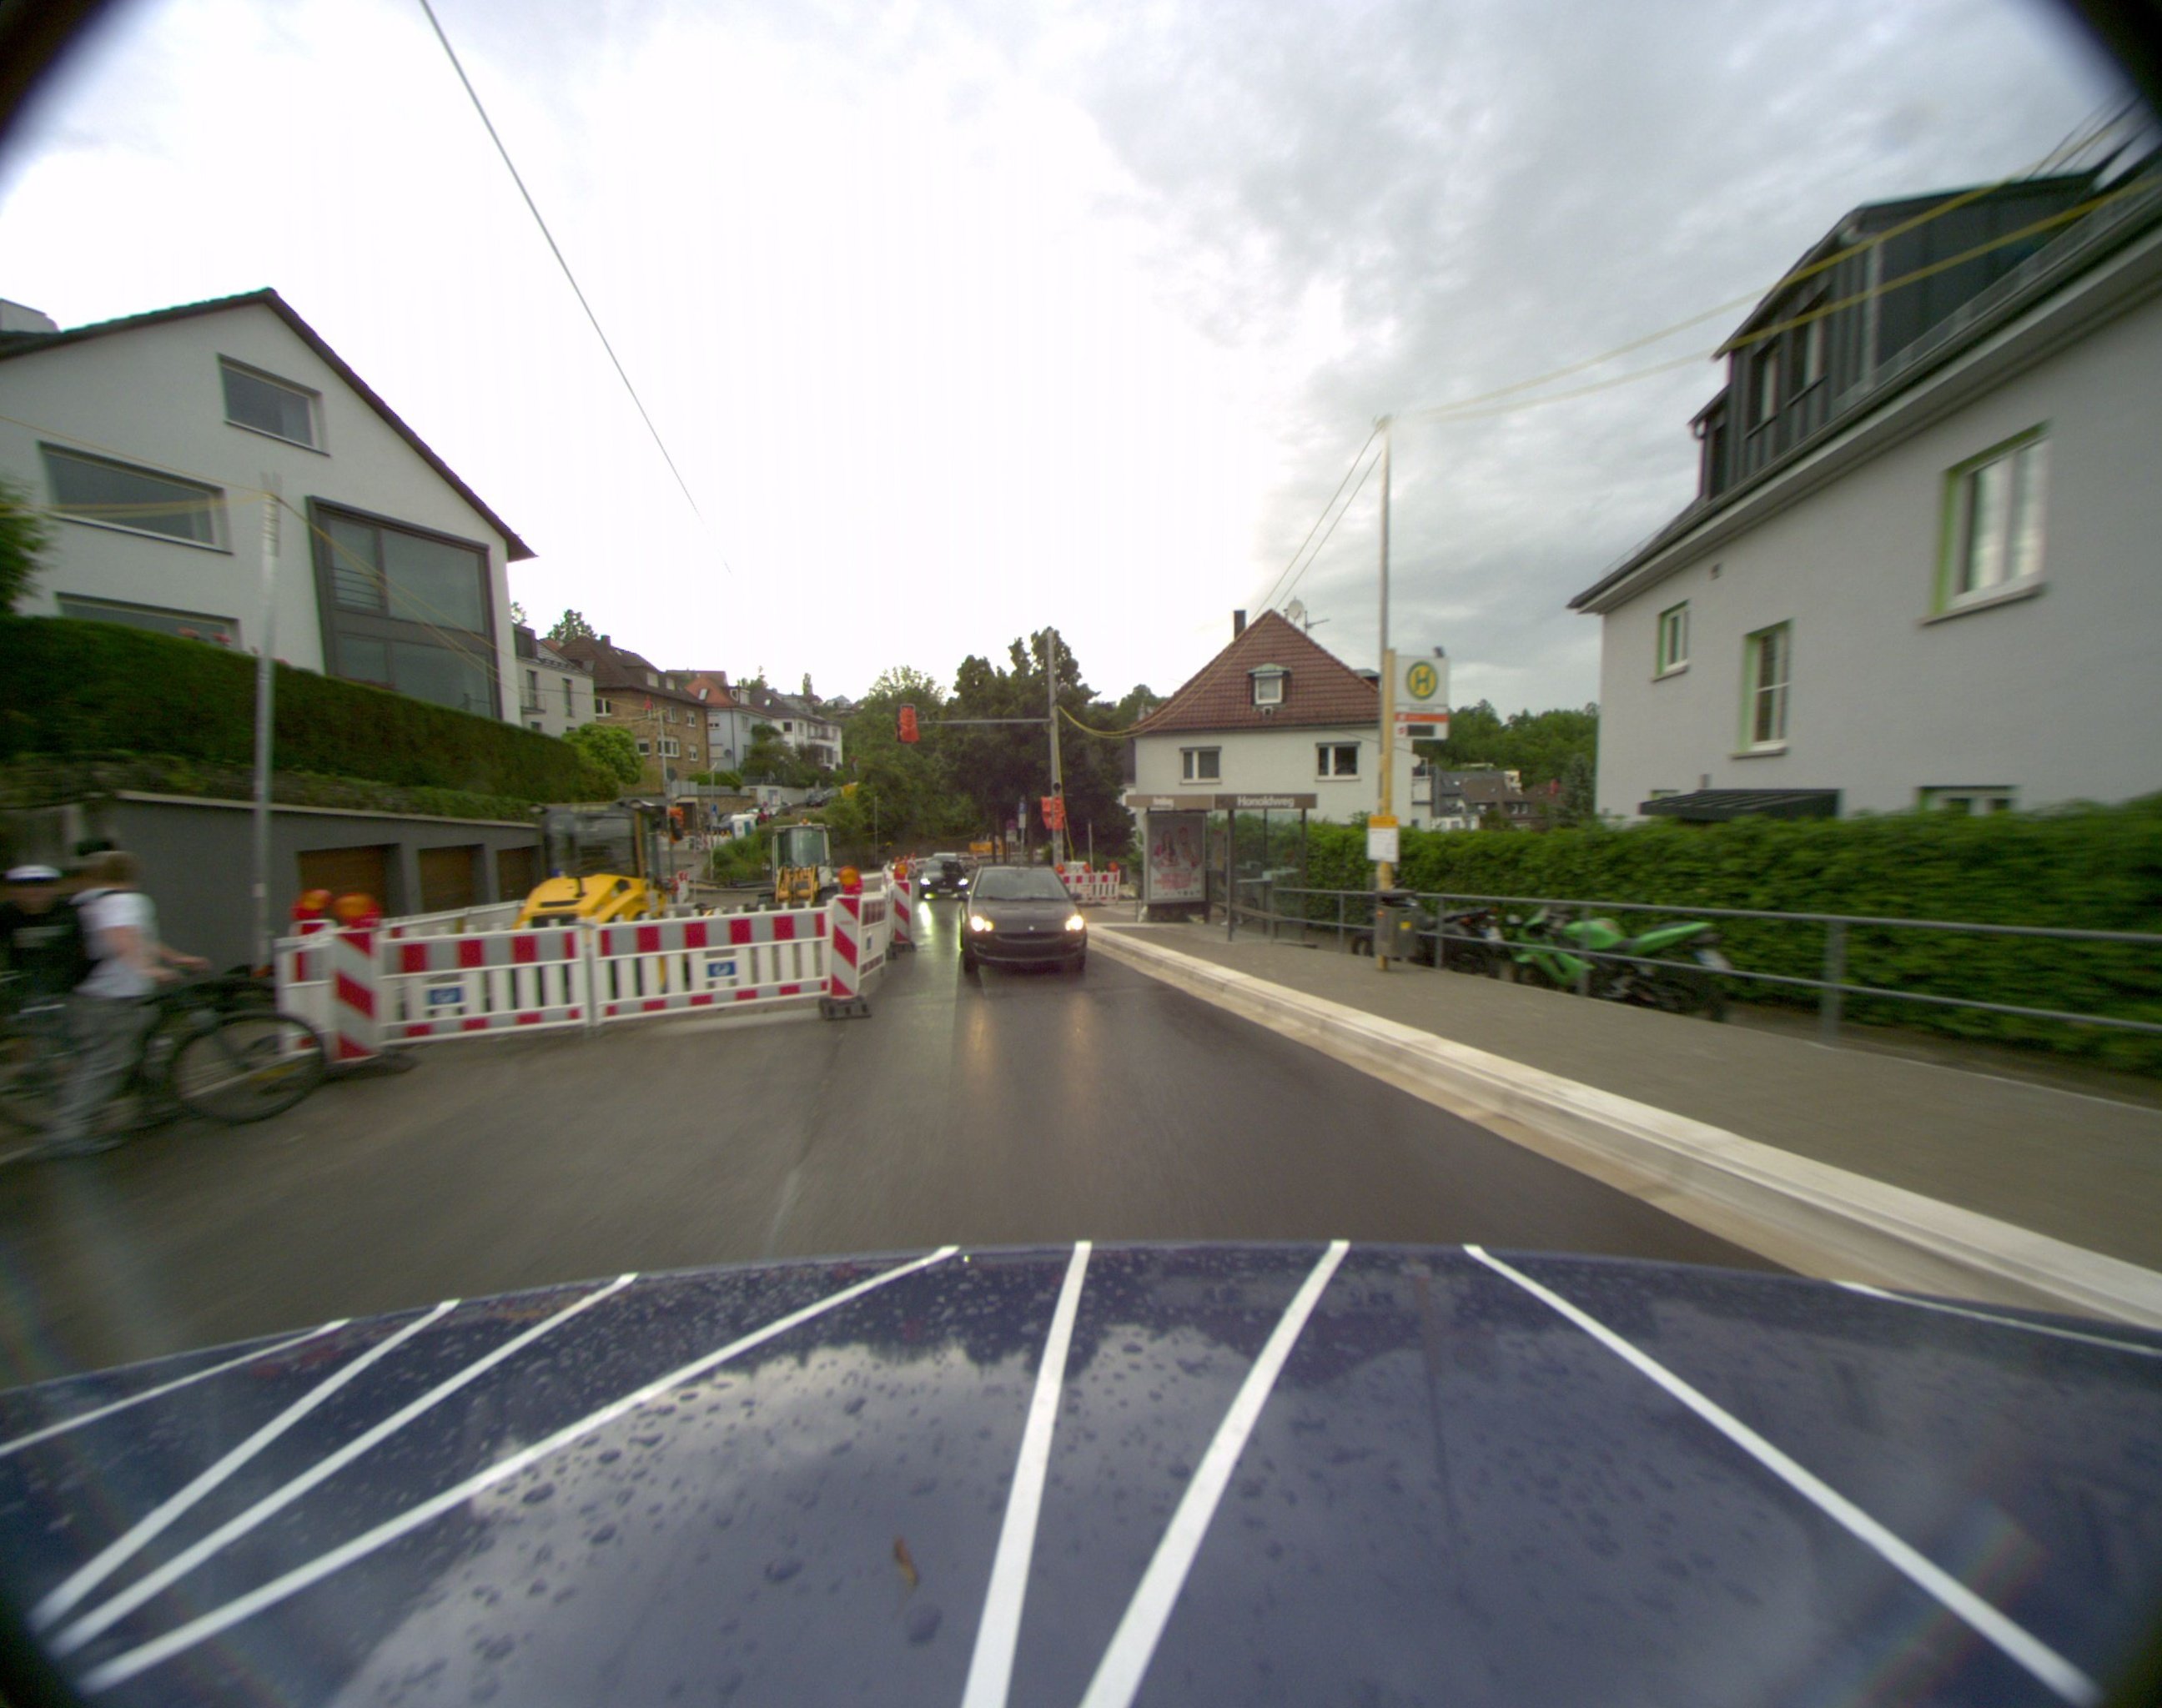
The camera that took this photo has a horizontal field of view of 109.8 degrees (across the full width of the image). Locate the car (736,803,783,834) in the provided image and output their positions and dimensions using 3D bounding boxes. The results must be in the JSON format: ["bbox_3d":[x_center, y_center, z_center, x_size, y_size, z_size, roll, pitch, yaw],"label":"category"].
[{"bbox_3d":[-26.746,-3.026,63.389,1.900,2.069,4.421,1,10,0],"label":"car"}]

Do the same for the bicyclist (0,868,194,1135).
[{"bbox_3d":[-7.478,0.985,5.539,1.074,1.719,0.934,-1,2,20],"label":"bicyclist"}]

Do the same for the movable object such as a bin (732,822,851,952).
[{"bbox_3d":[-7.240,0.592,19.613,2.094,2.823,5.667,-1,3,-14],"label":"movable object such as a bin"}]

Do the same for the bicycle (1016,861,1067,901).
[{"bbox_3d":[-1.372,0.928,26.690,1.697,1.337,0.418,-2,0,-19],"label":"bicycle"}]

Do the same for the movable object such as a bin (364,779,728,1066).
[{"bbox_3d":[-6.643,0.665,10.457,2.094,2.821,5.670,-1,0,-14],"label":"movable object such as a bin"}]

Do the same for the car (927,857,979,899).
[{"bbox_3d":[-5.115,0.886,30.000,1.845,1.395,4.065,0,2,-13],"label":"car"}]

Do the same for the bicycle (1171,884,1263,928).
[{"bbox_3d":[3.150,1.210,17.760,1.877,0.926,1.096,0,1,-6],"label":"bicycle"}]

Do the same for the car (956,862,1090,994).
[{"bbox_3d":[-1.075,0.946,11.891,1.675,1.458,4.710,0,2,-9],"label":"car"}]

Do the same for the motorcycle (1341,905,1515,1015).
[{"bbox_3d":[4.127,1.209,9.268,0.669,1.030,2.149,0,0,-17],"label":"motorcycle"}]

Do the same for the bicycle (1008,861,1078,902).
[{"bbox_3d":[-1.312,0.926,26.098,2.238,1.354,0.808,0,2,-20],"label":"bicycle"}]

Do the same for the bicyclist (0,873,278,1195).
[{"bbox_3d":[-5.988,1.016,4.682,1.078,1.719,0.931,-2,2,-22],"label":"bicyclist"}]

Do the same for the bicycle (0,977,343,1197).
[{"bbox_3d":[-6.028,1.401,4.676,1.886,0.975,0.931,-2,2,-23],"label":"bicycle"}]

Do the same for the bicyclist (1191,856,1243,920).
[{"bbox_3d":[3.160,0.772,17.747,0.909,1.431,1.096,0,1,-6],"label":"bicyclist"}]

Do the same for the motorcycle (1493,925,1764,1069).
[{"bbox_3d":[4.850,1.208,6.941,0.669,0.928,2.007,0,0,-17],"label":"motorcycle"}]

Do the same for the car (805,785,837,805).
[{"bbox_3d":[-26.750,-6.092,78.230,1.859,1.629,3.956,1,11,0],"label":"car"}]

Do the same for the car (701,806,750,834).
[{"bbox_3d":[-27.028,-2.604,57.952,1.859,1.629,3.826,1,10,0],"label":"car"}]

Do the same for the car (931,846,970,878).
[{"bbox_3d":[-7.658,0.423,44.922,2.001,1.699,4.569,0,2,-7],"label":"car"}]

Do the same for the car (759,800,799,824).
[{"bbox_3d":[-26.819,-3.764,67.632,1.859,1.629,3.957,1,10,0],"label":"car"}]

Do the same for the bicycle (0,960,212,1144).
[{"bbox_3d":[-7.594,1.370,5.603,1.825,0.975,0.934,-1,2,21],"label":"bicycle"}]

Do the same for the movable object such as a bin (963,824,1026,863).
[{"bbox_3d":[-8.726,-1.107,77.358,3.324,3.818,7.213,1,2,22],"label":"movable object such as a bin"}]
